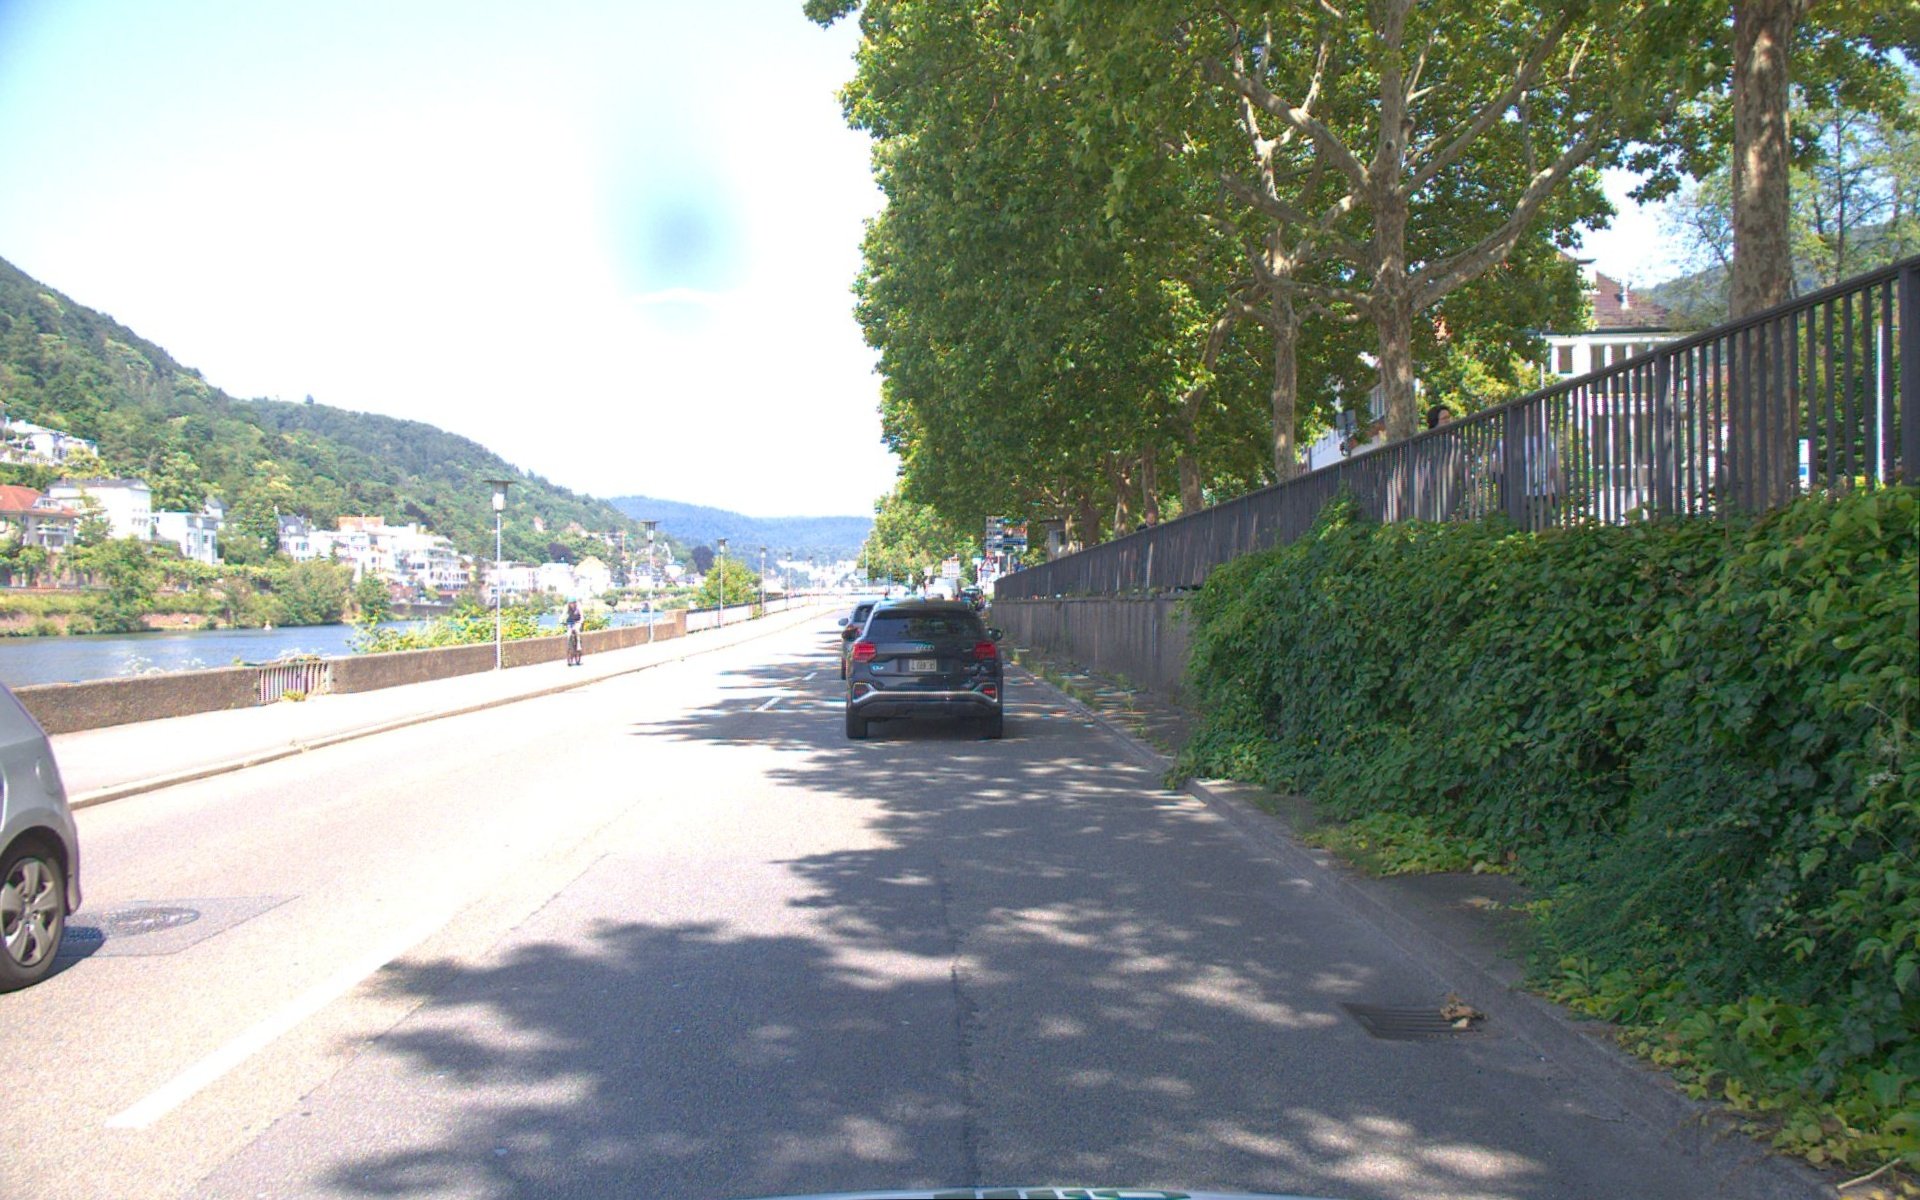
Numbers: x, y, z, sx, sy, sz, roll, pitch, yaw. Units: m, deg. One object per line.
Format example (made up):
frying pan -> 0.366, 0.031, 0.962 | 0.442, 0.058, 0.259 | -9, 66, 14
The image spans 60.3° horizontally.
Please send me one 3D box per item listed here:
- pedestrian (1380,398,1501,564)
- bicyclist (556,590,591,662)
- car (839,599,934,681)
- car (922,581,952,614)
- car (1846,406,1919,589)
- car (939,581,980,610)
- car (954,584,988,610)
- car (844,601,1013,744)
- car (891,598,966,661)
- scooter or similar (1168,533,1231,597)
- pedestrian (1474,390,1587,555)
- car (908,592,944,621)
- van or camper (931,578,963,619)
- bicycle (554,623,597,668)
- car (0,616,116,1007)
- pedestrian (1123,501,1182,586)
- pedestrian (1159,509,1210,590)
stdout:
pedestrian -> 4.280, -1.043, 14.770 | 0.738, 1.389, 0.813 | -3, 0, -4
bicyclist -> -9.372, 0.623, 40.146 | 0.624, 1.703, 0.870 | -1, 0, -2
car -> -1.461, 0.765, 33.296 | 1.792, 1.537, 3.998 | 0, 0, -2
car -> -1.583, -0.165, 112.954 | 1.953, 2.207, 3.998 | -1, 0, -2
car -> 8.351, -0.810, 11.578 | 3.452, 1.256, 1.514 | -3, 0, -1
car -> -0.081, -0.352, 133.048 | 3.037, 2.048, 5.821 | -3, 0, -2
car -> 0.914, -0.253, 143.049 | 2.608, 2.048, 5.821 | -3, 0, -2
car -> -0.414, 0.776, 19.592 | 1.792, 1.512, 3.998 | 0, 0, -2
car -> -0.840, 0.700, 41.833 | 1.792, 1.512, 3.998 | 0, 0, -2
scooter or similar -> 4.172, -0.596, 28.837 | 0.838, 1.044, 1.107 | -3, 0, -3
pedestrian -> 5.111, -1.124, 14.853 | 0.631, 1.389, 0.794 | -3, 0, -4
car -> -1.825, 0.338, 87.861 | 1.792, 1.470, 3.998 | 0, 0, -2
van or camper -> -0.946, -0.086, 121.927 | 2.263, 2.897, 4.245 | -1, 0, 0
bicycle -> -9.325, 1.091, 40.187 | 0.620, 1.029, 1.985 | -1, 0, -2
car -> -4.470, 0.833, 5.090 | 1.696, 1.467, 4.044 | -2, 0, -1
pedestrian -> 3.818, -1.103, 32.897 | 0.918, 1.607, 1.027 | -3, 0, -4
pedestrian -> 4.018, -0.894, 29.664 | 0.667, 1.389, 0.989 | -3, 0, -2
